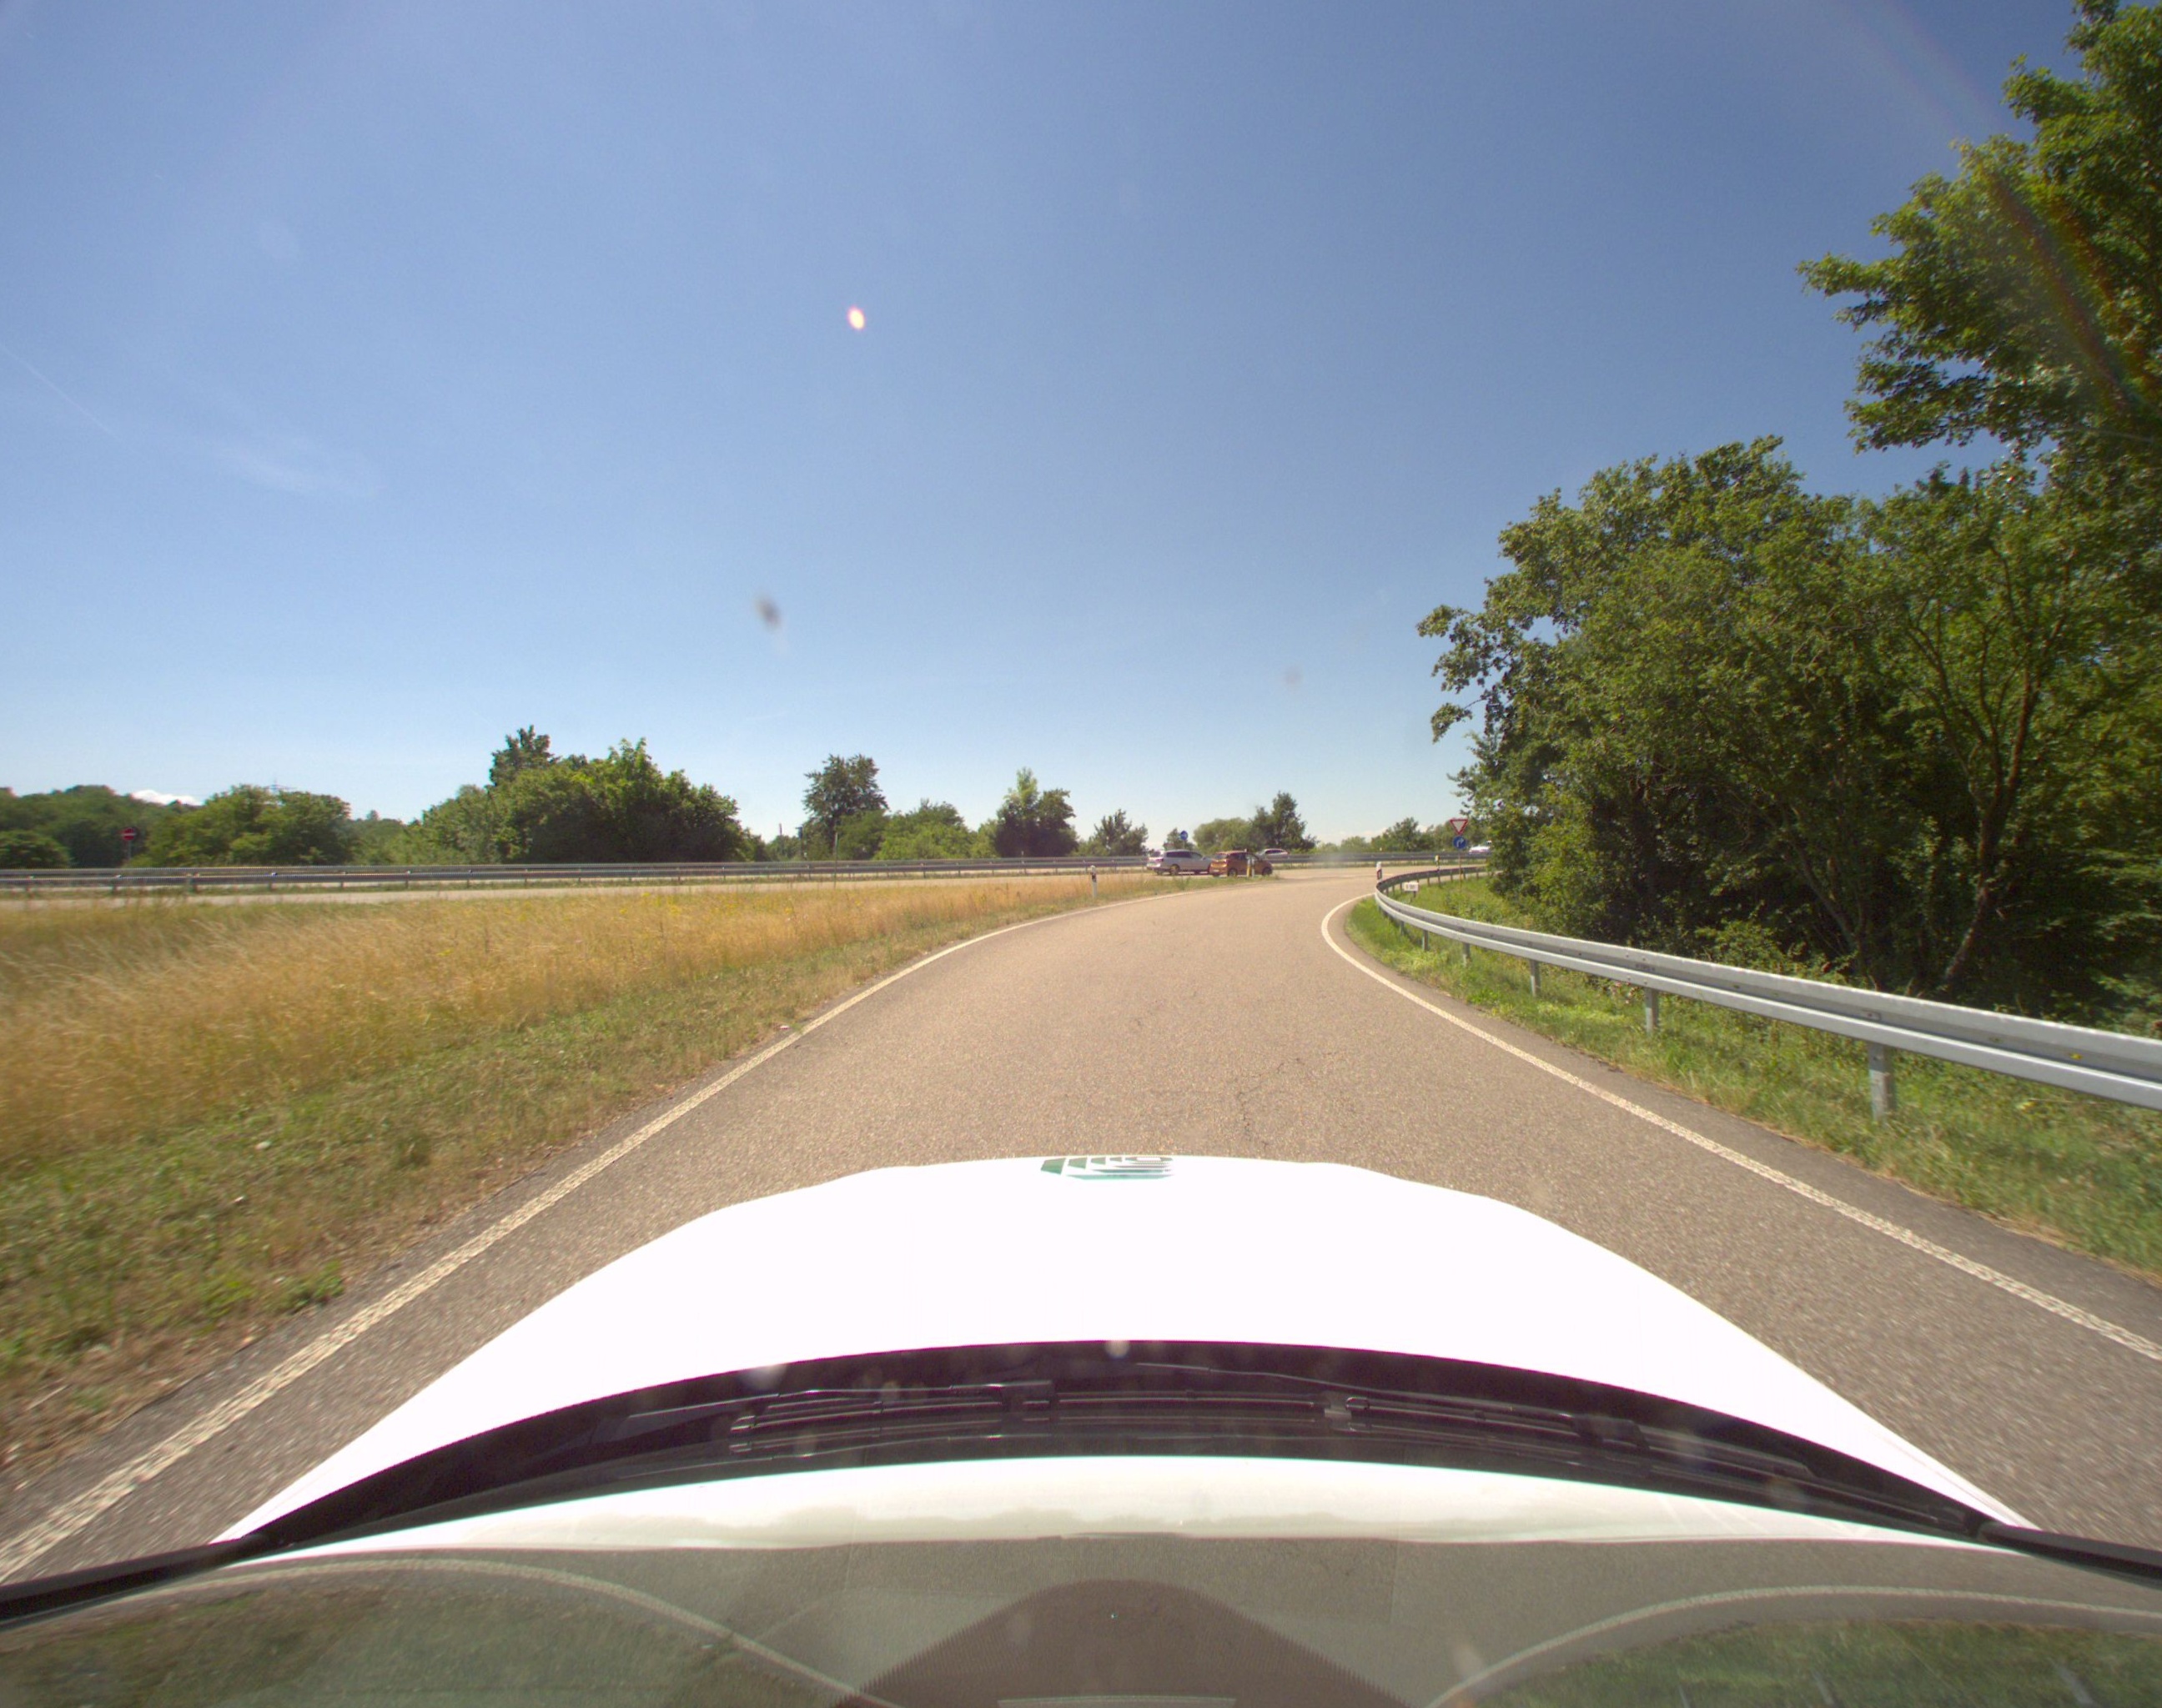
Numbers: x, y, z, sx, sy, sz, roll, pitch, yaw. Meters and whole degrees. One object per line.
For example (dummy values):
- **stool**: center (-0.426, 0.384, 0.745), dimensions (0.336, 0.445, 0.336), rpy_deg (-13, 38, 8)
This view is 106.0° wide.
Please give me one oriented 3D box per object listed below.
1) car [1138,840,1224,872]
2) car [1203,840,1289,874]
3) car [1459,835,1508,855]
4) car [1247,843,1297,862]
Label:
- **car**: center (5.963, 0.106, 48.517), dimensions (4.797, 1.789, 1.982), rpy_deg (-1, 0, -28)
- **car**: center (9.323, 0.203, 45.991), dimensions (4.539, 1.790, 1.982), rpy_deg (1, -1, -28)
- **car**: center (37.233, -0.805, 75.312), dimensions (4.420, 1.789, 1.980), rpy_deg (-1, 1, -32)
- **car**: center (17.643, -0.152, 75.432), dimensions (4.098, 1.750, 1.995), rpy_deg (-1, 1, -7)
